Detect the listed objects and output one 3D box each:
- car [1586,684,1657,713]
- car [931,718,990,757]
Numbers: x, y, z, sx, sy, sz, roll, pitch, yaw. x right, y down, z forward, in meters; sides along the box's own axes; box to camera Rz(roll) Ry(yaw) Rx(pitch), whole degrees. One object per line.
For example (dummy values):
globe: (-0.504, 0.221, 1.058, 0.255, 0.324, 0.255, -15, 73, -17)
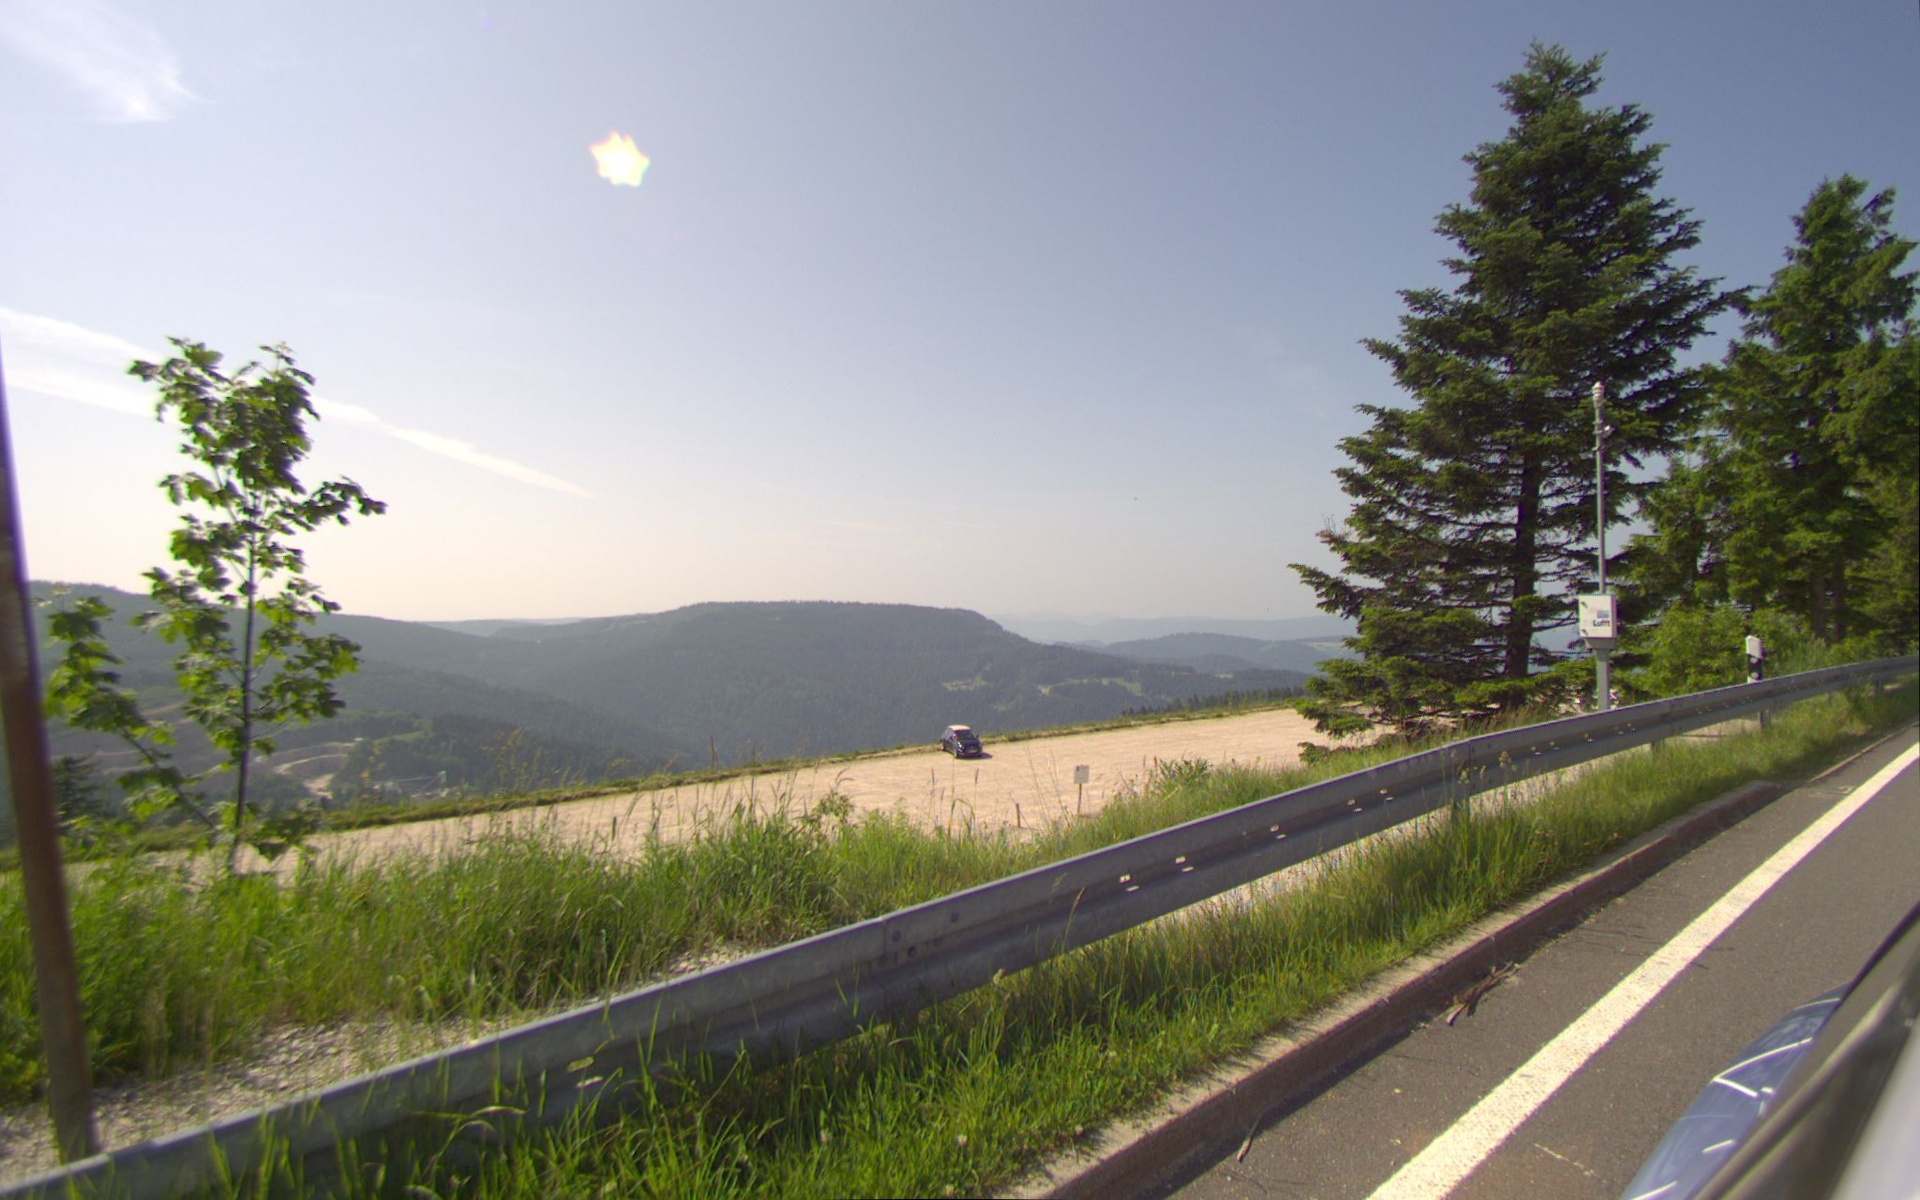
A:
car: (46.105, 6.854, 70.608, 1.805, 1.616, 3.784, -2, 0, -24)
car: (-0.017, 7.760, 57.233, 1.766, 1.687, 3.526, 1, -1, -32)
